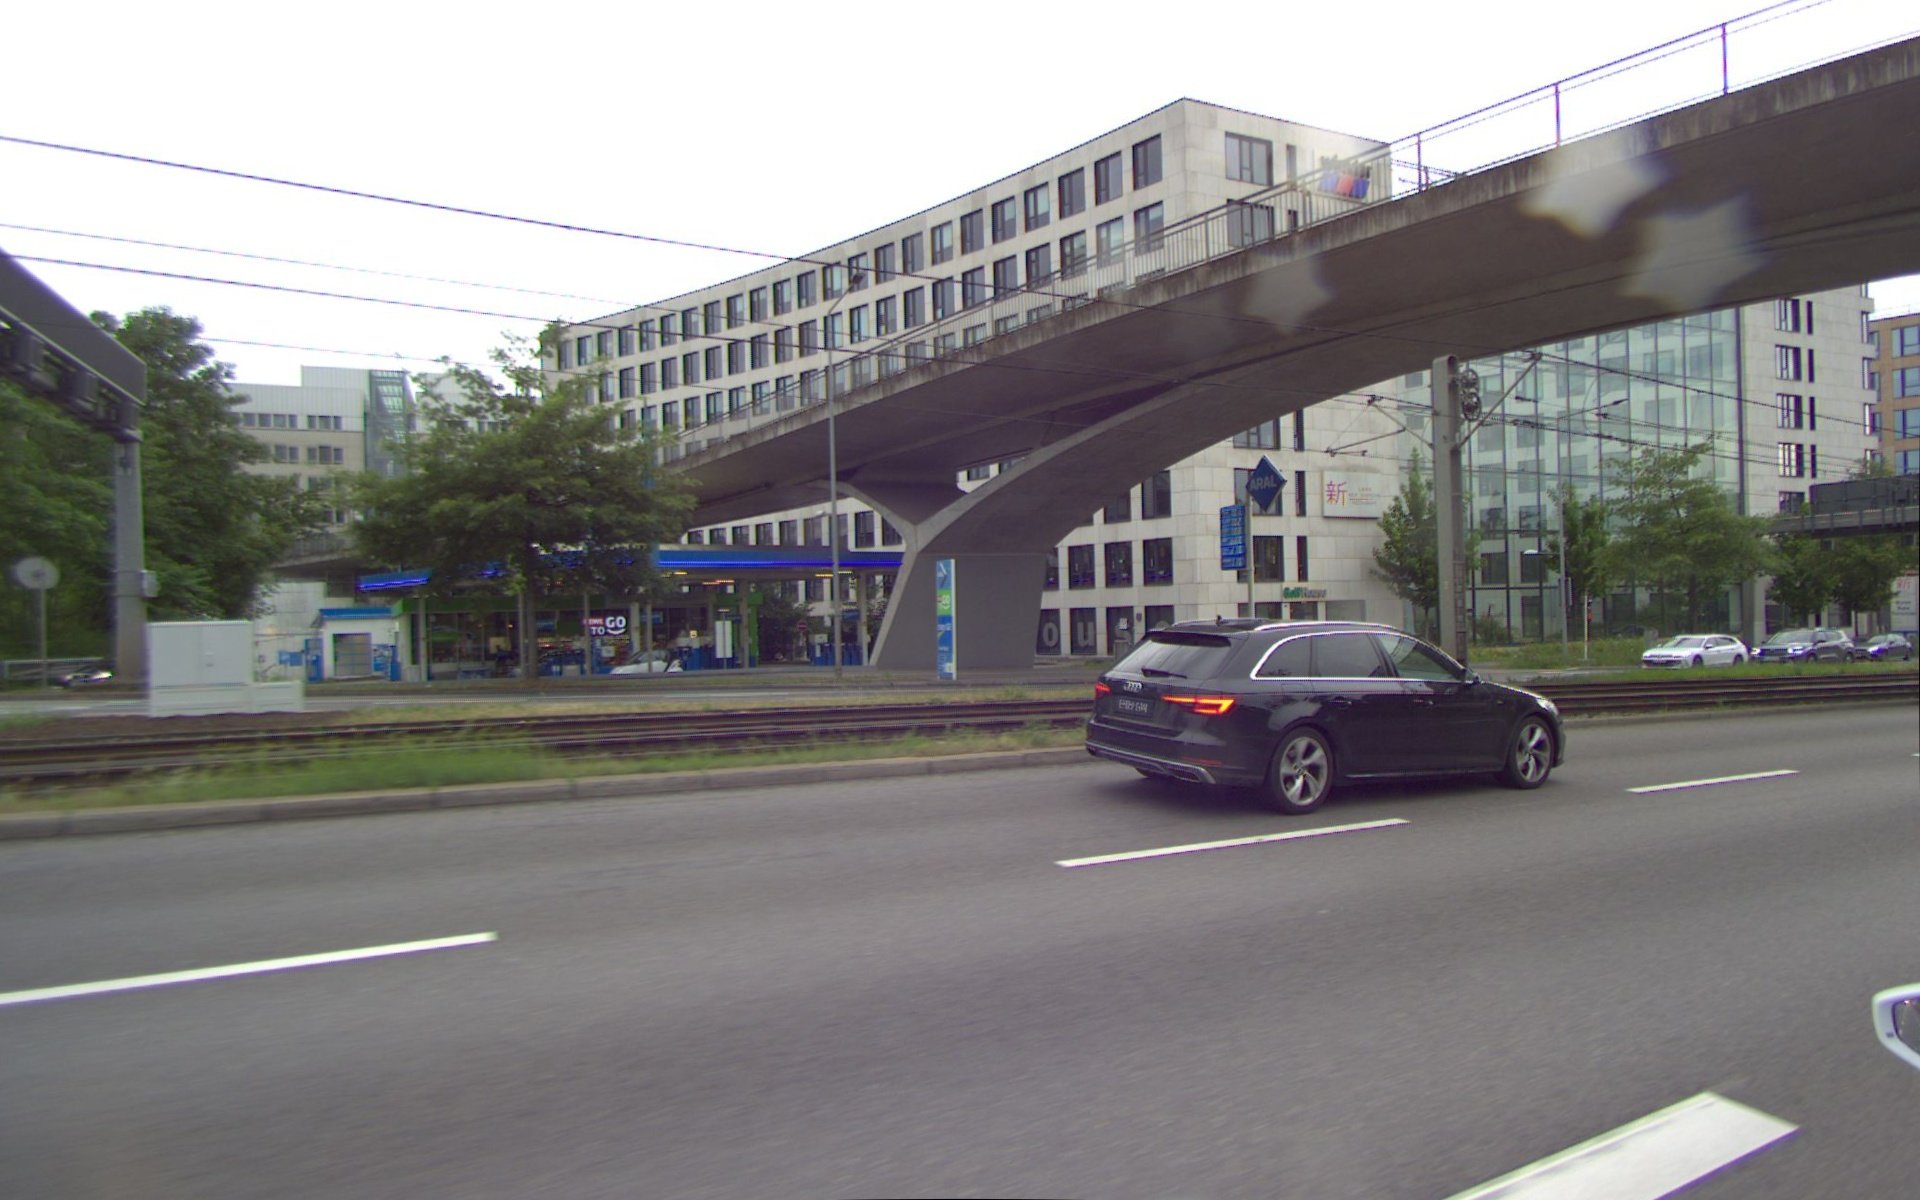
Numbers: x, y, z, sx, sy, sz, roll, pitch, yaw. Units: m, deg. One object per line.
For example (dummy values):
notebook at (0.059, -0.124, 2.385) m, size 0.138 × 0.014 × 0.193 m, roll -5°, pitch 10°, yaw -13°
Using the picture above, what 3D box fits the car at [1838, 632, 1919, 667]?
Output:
car at (47.589, 2.532, 51.847) m, size 4.429 × 1.619 × 1.759 m, roll 0°, pitch 0°, yaw -25°

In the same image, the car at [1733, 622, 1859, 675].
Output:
car at (30.636, 1.744, 36.818) m, size 4.165 × 1.800 × 1.915 m, roll 0°, pitch 0°, yaw -24°

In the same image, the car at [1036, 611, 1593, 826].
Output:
car at (3.143, 0.867, 8.669) m, size 4.744 × 1.432 × 1.779 m, roll 2°, pitch 0°, yaw -27°

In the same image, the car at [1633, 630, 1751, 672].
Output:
car at (29.424, 2.008, 40.377) m, size 4.595 × 1.517 × 1.914 m, roll 0°, pitch 0°, yaw -26°

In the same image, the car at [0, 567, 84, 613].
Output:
car at (-38.372, -0.415, 41.543) m, size 1.817 × 1.794 × 4.344 m, roll 2°, pitch -1°, yaw -22°
